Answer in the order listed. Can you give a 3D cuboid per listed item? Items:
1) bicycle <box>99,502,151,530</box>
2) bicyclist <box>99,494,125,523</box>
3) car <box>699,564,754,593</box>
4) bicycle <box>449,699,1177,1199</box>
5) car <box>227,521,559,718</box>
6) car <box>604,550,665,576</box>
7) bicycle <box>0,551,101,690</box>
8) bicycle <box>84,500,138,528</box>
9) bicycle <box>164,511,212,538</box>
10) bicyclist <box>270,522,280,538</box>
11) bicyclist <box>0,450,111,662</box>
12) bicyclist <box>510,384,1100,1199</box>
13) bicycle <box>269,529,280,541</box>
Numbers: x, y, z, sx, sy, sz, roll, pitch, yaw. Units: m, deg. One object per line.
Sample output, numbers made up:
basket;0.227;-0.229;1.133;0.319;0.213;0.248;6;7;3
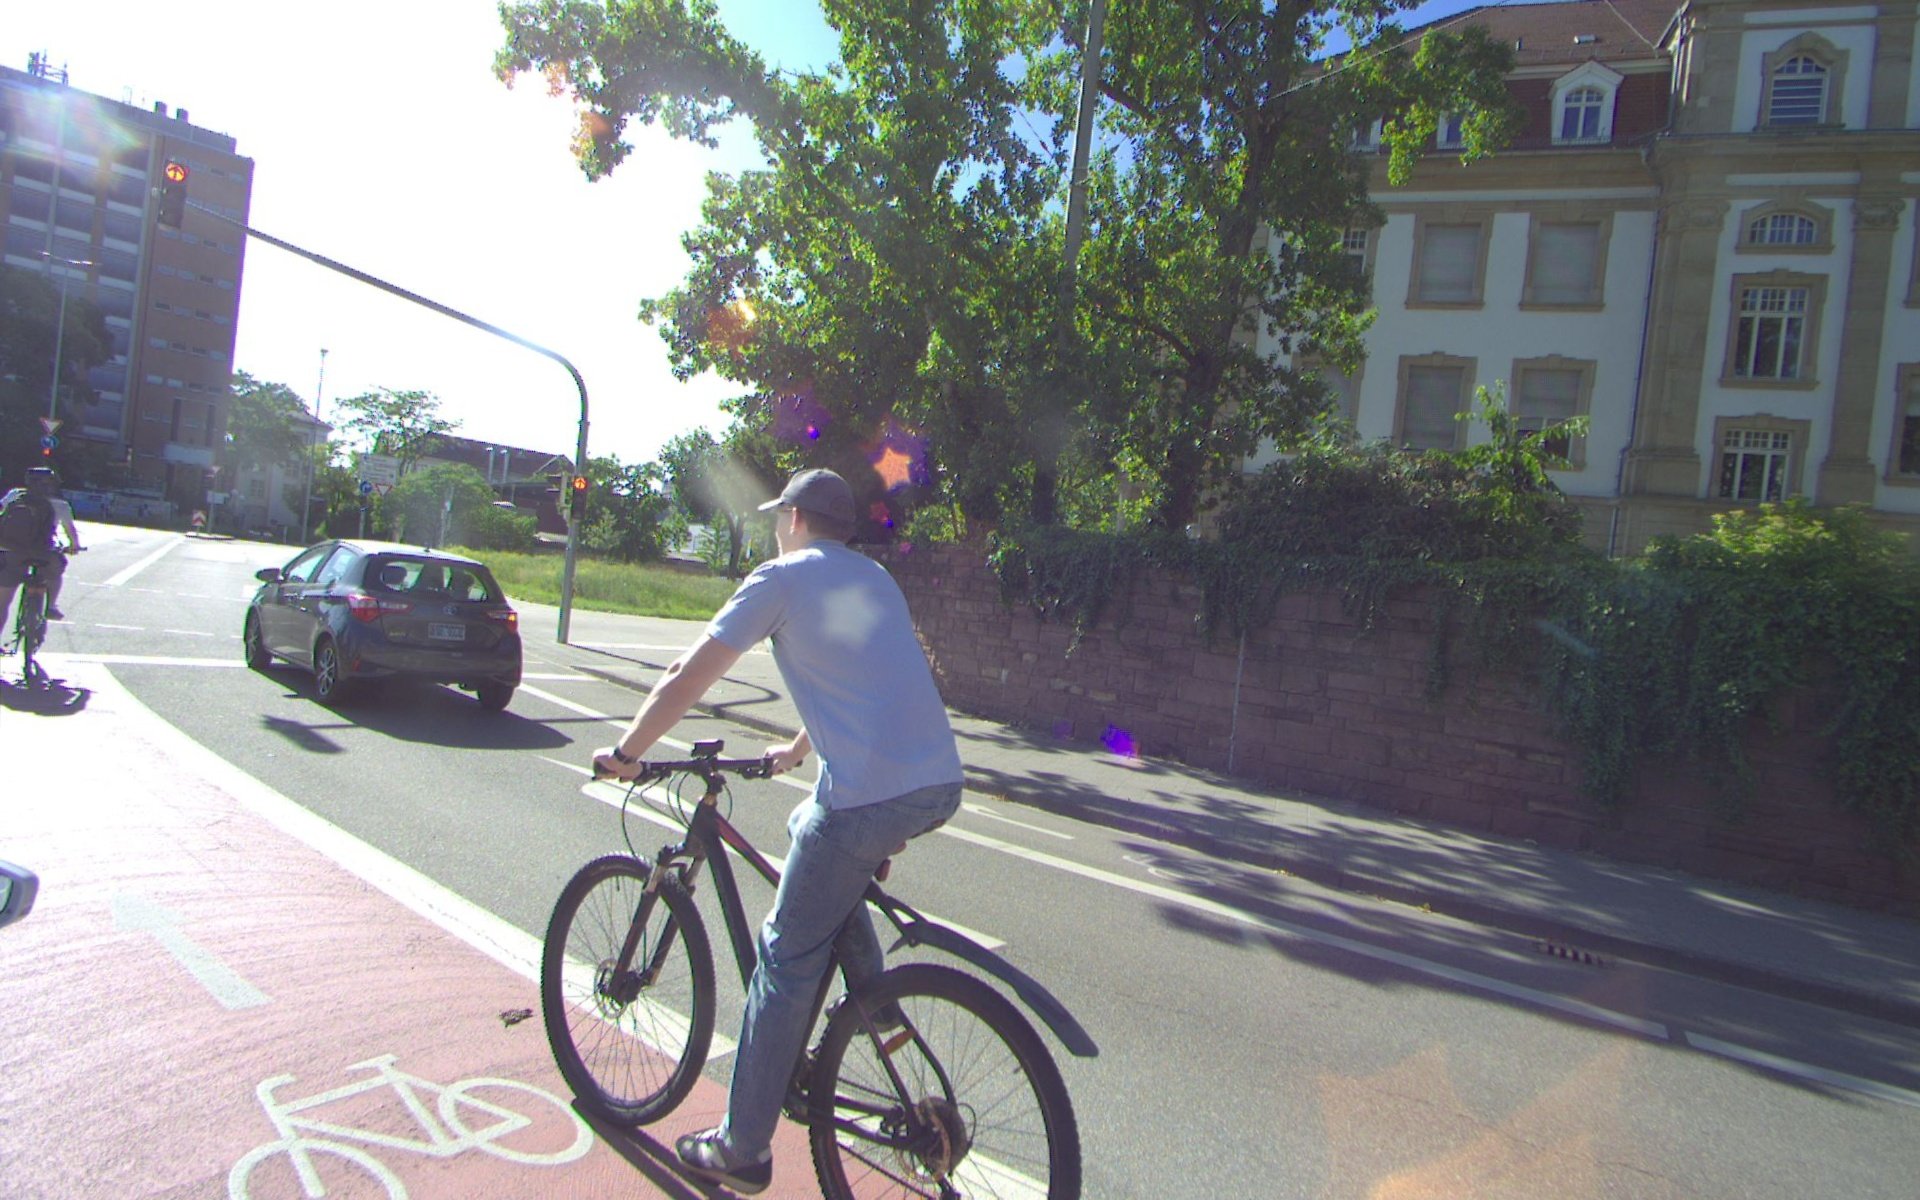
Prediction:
bicycle;-62.687;-6.298;75.577;2.784;1.559;0.877;8;-2;-34
bicyclist;-61.754;-6.669;73.262;1.199;1.919;0.877;7;-1;-33
car;-20.876;-1.882;90.020;4.309;2.037;1.988;7;-2;-27
bicycle;-0.479;0.923;2.499;1.802;1.090;0.611;6;0;38
car;-5.952;0.148;10.414;3.607;1.560;1.754;6;-1;41
car;-25.209;-2.866;77.953;4.200;1.589;1.810;5;1;-30
bicycle;-7.902;0.138;8.560;0.721;0.971;1.860;8;-1;-44
bicycle;-61.817;-6.226;73.262;2.784;1.559;0.877;8;-2;-34
bicycle;-59.274;-5.785;77.274;2.784;1.559;0.877;8;-2;-34
bicyclist;-66.926;-6.877;98.272;0.613;1.462;0.813;6;1;-28
bicyclist;-7.842;-0.377;8.564;0.720;1.645;1.042;8;-1;-44
bicyclist;-0.381;0.492;2.445;0.999;1.797;0.749;7;0;38
bicycle;-67.000;-6.352;98.330;0.603;1.106;1.660;6;1;-27
